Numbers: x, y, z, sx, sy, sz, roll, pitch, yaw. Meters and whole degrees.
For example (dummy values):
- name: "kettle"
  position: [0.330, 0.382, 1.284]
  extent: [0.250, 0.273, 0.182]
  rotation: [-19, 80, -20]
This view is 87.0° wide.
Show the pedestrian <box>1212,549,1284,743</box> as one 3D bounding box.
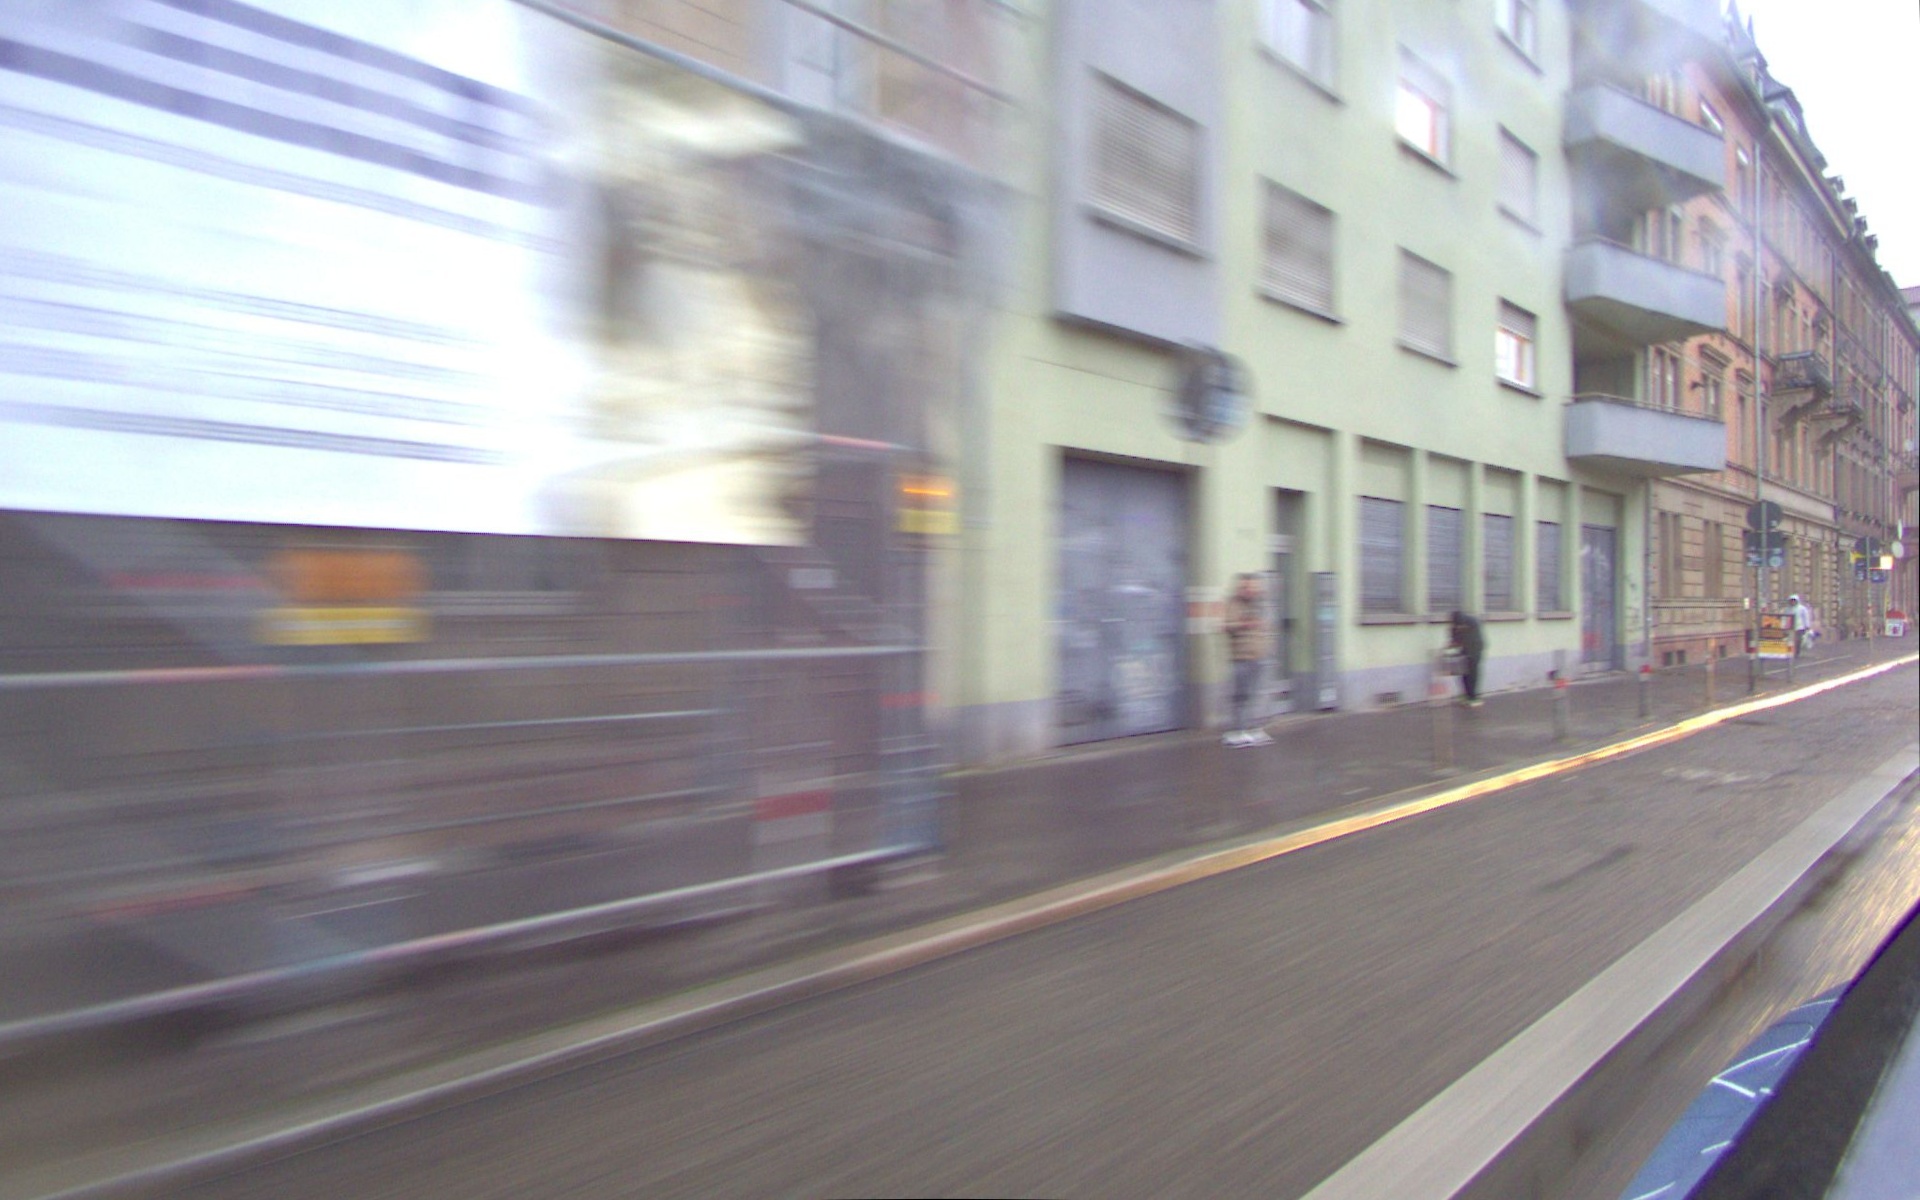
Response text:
- name: "pedestrian"
  position: [2.879, 0.439, 10.094]
  extent: [0.593, 1.841, 0.770]
  rotation: [-1, 0, 22]

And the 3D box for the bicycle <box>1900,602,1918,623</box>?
- name: "bicycle"
  position: [41.860, 0.546, 44.641]
  extent: [1.834, 0.922, 0.398]
  rotation: [0, 0, -41]

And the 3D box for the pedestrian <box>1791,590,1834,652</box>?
- name: "pedestrian"
  position: [22.685, 0.556, 26.940]
  extent: [0.729, 1.617, 0.787]
  rotation: [0, 0, -42]

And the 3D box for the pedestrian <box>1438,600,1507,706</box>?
- name: "pedestrian"
  position: [6.993, 0.698, 13.804]
  extent: [0.716, 1.394, 0.601]
  rotation: [0, -1, -41]
